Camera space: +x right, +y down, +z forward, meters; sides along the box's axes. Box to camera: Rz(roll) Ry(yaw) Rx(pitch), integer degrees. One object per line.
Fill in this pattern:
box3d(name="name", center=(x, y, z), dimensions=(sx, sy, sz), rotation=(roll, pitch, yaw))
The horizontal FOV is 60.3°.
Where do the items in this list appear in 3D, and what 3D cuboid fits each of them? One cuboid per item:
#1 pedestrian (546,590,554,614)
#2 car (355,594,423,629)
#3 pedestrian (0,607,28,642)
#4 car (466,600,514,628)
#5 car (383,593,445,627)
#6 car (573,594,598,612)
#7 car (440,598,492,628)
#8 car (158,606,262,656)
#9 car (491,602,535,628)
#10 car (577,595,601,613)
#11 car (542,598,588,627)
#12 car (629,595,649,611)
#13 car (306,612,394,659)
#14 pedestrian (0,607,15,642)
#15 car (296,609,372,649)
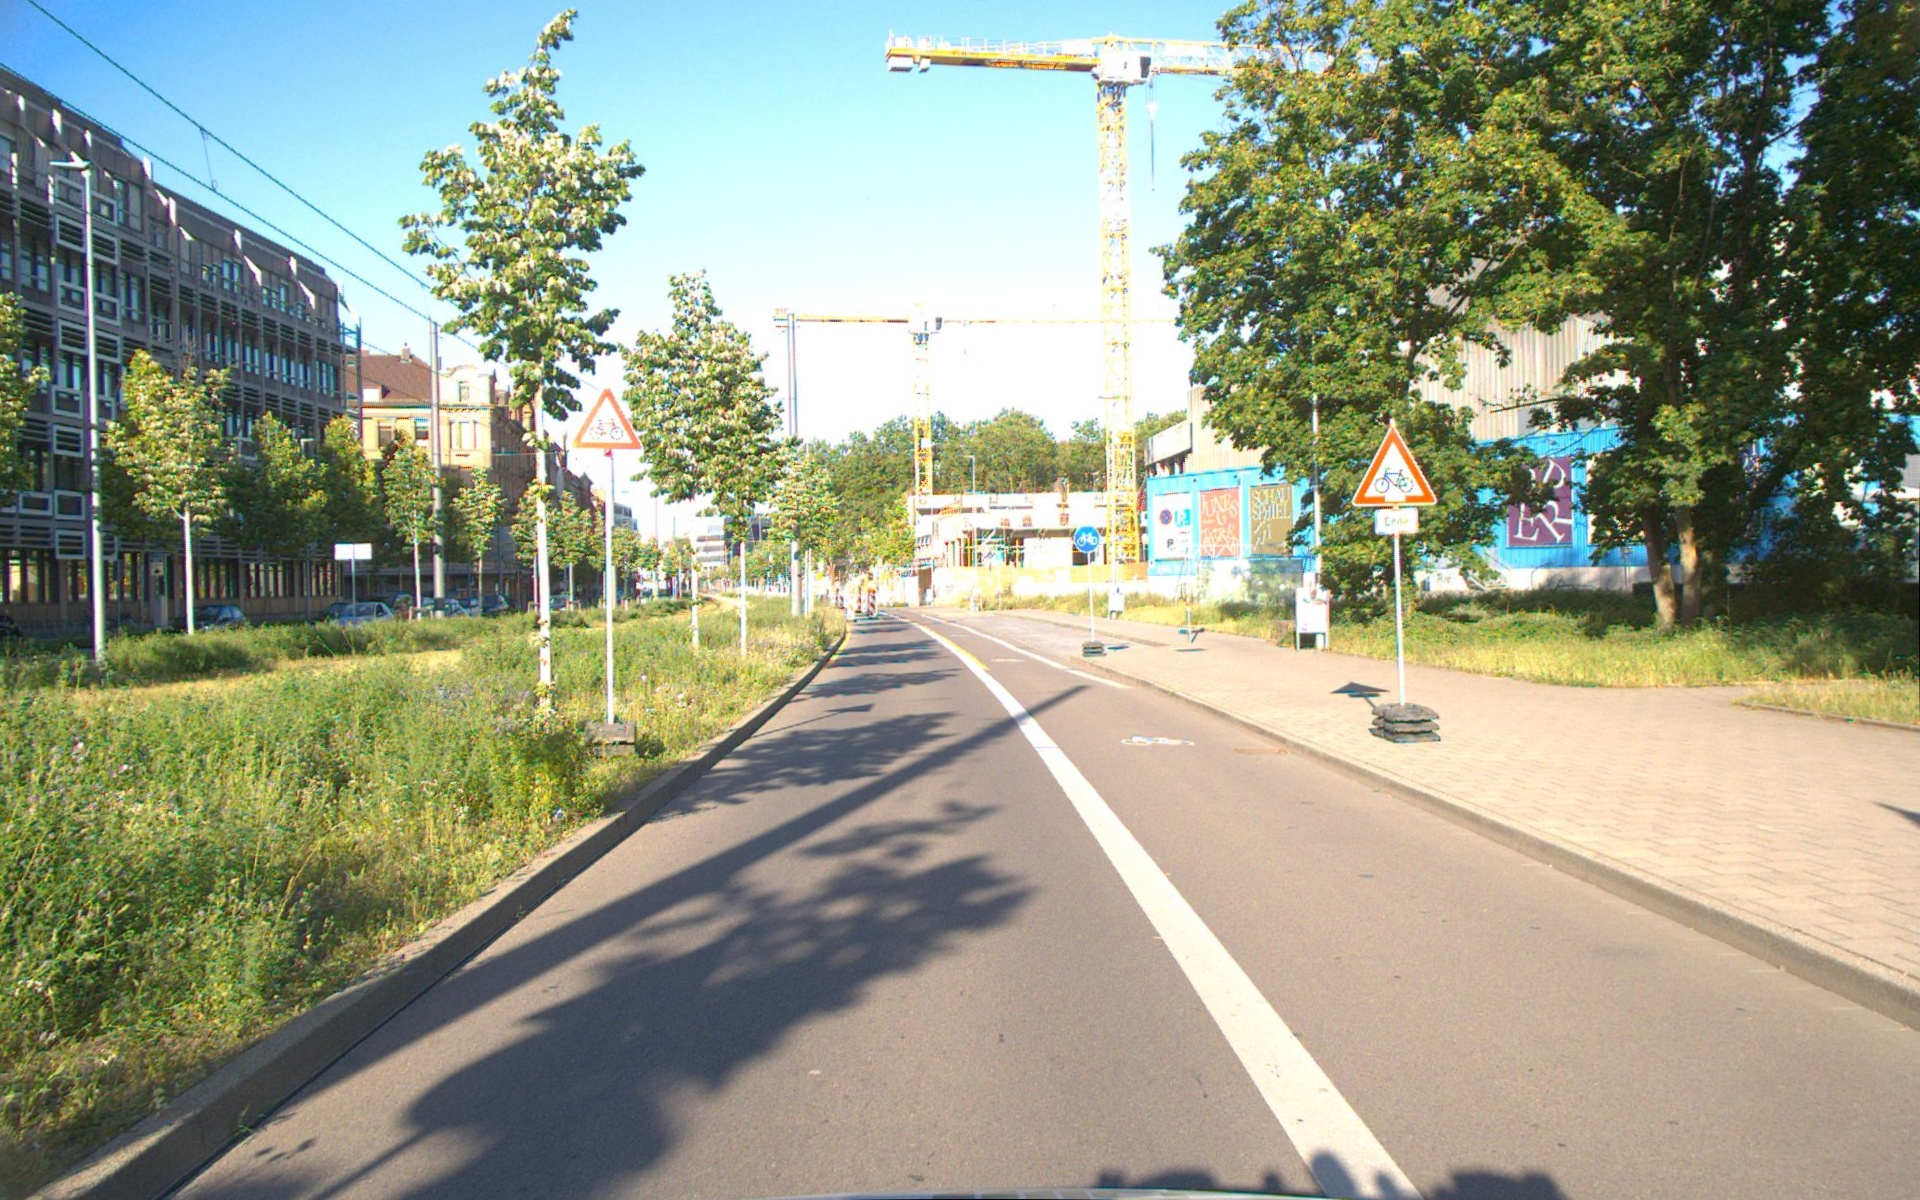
box3d(name="pedestrian", center=(-34.677, 0.154, 139.810), dimensions=(0.540, 1.981, 0.648), rotation=(-1, 0, -10))
box3d(name="car", center=(-27.443, 0.526, 79.620), dimensions=(1.865, 1.602, 4.299), rotation=(-1, 1, -2))
box3d(name="pedestrian", center=(-33.615, 0.856, 58.422), dimensions=(0.881, 1.189, 0.899), rotation=(-1, 0, -1))
box3d(name="car", center=(-29.310, 0.854, 103.314), dimensions=(1.865, 1.602, 4.299), rotation=(-1, 1, -2))
box3d(name="car", center=(-27.696, 0.499, 84.036), dimensions=(1.865, 1.602, 4.299), rotation=(-1, 1, -2))
box3d(name="car", center=(-34.069, 0.257, 150.442), dimensions=(1.868, 1.603, 4.292), rotation=(-2, 1, -9))
box3d(name="car", center=(-28.560, 0.712, 95.748), dimensions=(1.865, 1.602, 4.299), rotation=(-1, 1, -2))
box3d(name="car", center=(-26.698, 1.064, 59.012), dimensions=(1.865, 1.602, 4.299), rotation=(-1, 1, -2))
box3d(name="car", center=(-29.973, 1.000, 111.059), dimensions=(1.865, 1.602, 4.299), rotation=(-1, 1, -2))
box3d(name="car", center=(-34.833, 0.353, 155.163), dimensions=(1.868, 1.603, 4.292), rotation=(-2, 1, -9))
box3d(name="car", center=(-23.833, 0.726, 99.990), dimensions=(1.865, 1.602, 4.299), rotation=(-1, 1, -2))
box3d(name="car", center=(-32.808, 0.318, 169.089), dimensions=(1.868, 1.603, 4.292), rotation=(-2, 1, -9))
box3d(name="car", center=(-22.689, 1.299, 61.673), dimensions=(1.865, 1.603, 3.998), rotation=(-1, 1, -2))
box3d(name="pedestrian", center=(-33.447, 0.863, 57.337), dimensions=(0.882, 1.189, 0.865), rotation=(-1, 0, -3))
box3d(name="car", center=(-27.792, 1.273, 73.541), dimensions=(1.865, 1.602, 4.299), rotation=(-1, 1, -2))
